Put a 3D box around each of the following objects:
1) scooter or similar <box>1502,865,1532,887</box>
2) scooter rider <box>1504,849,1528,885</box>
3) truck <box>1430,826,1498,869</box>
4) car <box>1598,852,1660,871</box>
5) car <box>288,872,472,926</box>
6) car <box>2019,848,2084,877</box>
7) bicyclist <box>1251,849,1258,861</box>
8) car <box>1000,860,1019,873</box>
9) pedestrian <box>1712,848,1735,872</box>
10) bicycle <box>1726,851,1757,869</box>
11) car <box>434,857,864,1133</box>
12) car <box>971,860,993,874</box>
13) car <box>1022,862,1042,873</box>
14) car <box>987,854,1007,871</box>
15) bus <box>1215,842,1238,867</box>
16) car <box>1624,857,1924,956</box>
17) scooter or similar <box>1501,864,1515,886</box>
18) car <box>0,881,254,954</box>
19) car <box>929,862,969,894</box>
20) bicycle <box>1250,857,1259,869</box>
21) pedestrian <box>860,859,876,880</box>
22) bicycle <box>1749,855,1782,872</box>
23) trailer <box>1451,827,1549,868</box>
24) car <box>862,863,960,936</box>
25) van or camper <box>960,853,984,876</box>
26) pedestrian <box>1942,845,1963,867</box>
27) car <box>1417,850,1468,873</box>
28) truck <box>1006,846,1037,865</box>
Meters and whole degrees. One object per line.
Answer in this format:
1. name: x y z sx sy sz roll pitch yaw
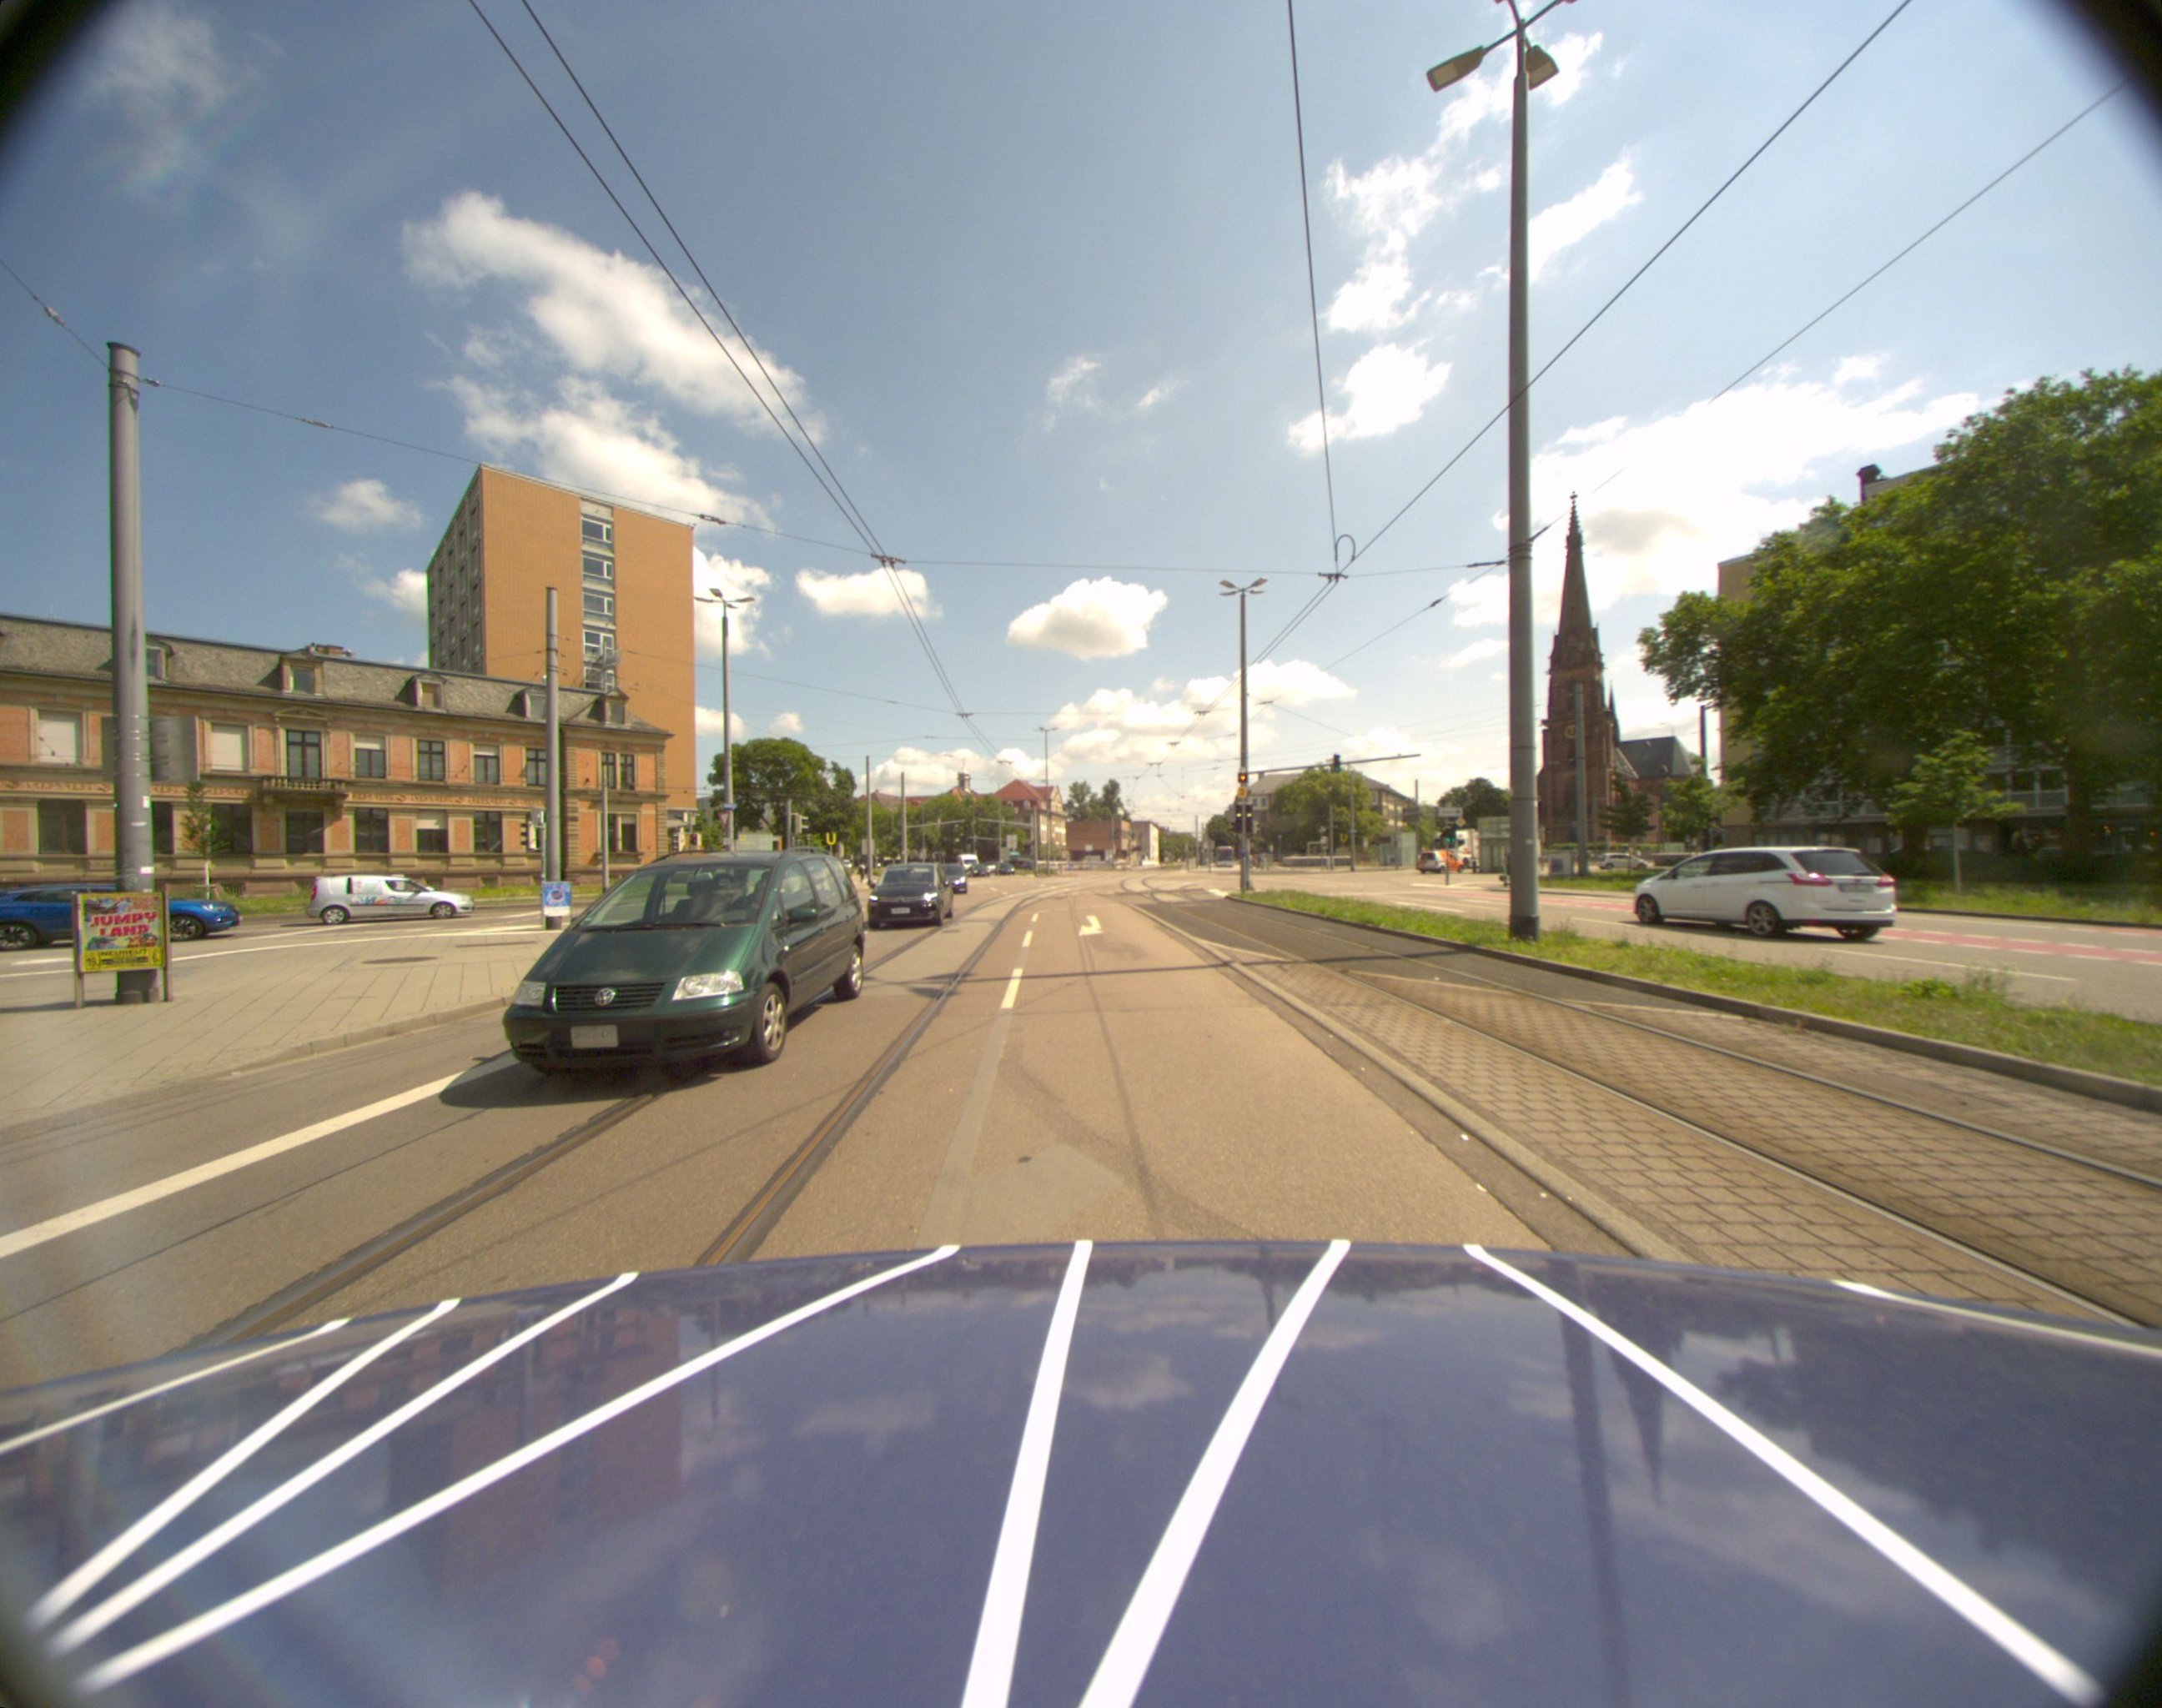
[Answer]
1. scooter or similar: 21.164 1.075 36.934 0.806 1.026 1.092 -1 0 -2
2. scooter rider: 21.151 0.617 36.918 0.779 1.697 0.649 -1 0 -2
3. truck: 38.602 -0.646 76.491 6.890 4.094 2.956 -1 0 -32
4. car: 48.148 0.671 66.830 4.164 1.632 1.632 -1 0 16
5. car: -23.478 1.446 25.697 4.435 1.578 1.869 -1 0 -40
6. car: 52.416 0.450 41.019 3.938 1.501 1.875 0 -1 -34
7. bicyclist: 28.697 0.185 125.633 1.124 2.002 1.320 0 0 7
8. car: -8.211 1.453 86.609 1.673 1.368 3.911 -1 -1 -13
9. pedestrian: 41.566 0.396 49.165 0.725 1.551 0.878 -1 -1 -24
10. bicycle: 48.113 0.433 55.383 0.494 1.257 1.598 -1 0 -32
11. car: -3.378 0.918 6.997 1.820 1.707 4.083 -2 0 -5
12. car: -10.942 1.409 83.442 1.902 1.455 4.256 -1 0 -14
13. car: -7.140 1.905 110.348 1.817 1.551 4.102 1 -1 -18
14. car: -10.389 1.084 93.665 1.817 2.002 3.995 -1 0 -15
15. bus: 20.637 0.119 108.268 2.948 3.427 7.954 -1 0 9
16. car: 13.027 0.880 14.774 1.771 1.594 4.493 1 0 1
17. scooter or similar: 23.720 1.144 42.218 0.462 1.193 0.549 -1 0 -3
18. car: -25.329 1.608 20.077 4.435 1.542 1.868 -1 2 -39
19. car: -6.641 1.171 38.650 1.874 1.477 4.423 -1 0 -9
20. bicycle: 28.674 1.470 125.589 1.246 2.002 3.486 -1 0 7
21. pedestrian: -18.736 1.386 66.825 1.029 1.802 0.726 -1 1 -42
22. bicycle: 46.505 0.663 51.623 0.494 1.161 1.598 -1 0 -32
23. trailer: 44.414 -0.704 80.186 13.442 4.052 2.942 -1 0 -32
24. car: -4.394 1.115 20.317 1.873 1.607 4.425 -3 0 -4
25. van or camper: -13.373 1.258 92.903 2.234 2.719 5.515 -1 0 -14
26. pedestrian: 51.738 0.128 45.103 0.563 1.318 0.758 -1 0 -37
27. car: 28.990 0.591 60.885 4.249 1.755 1.766 -1 0 -35
28. truck: -9.983 0.283 126.458 3.358 2.980 8.722 -1 0 -16
